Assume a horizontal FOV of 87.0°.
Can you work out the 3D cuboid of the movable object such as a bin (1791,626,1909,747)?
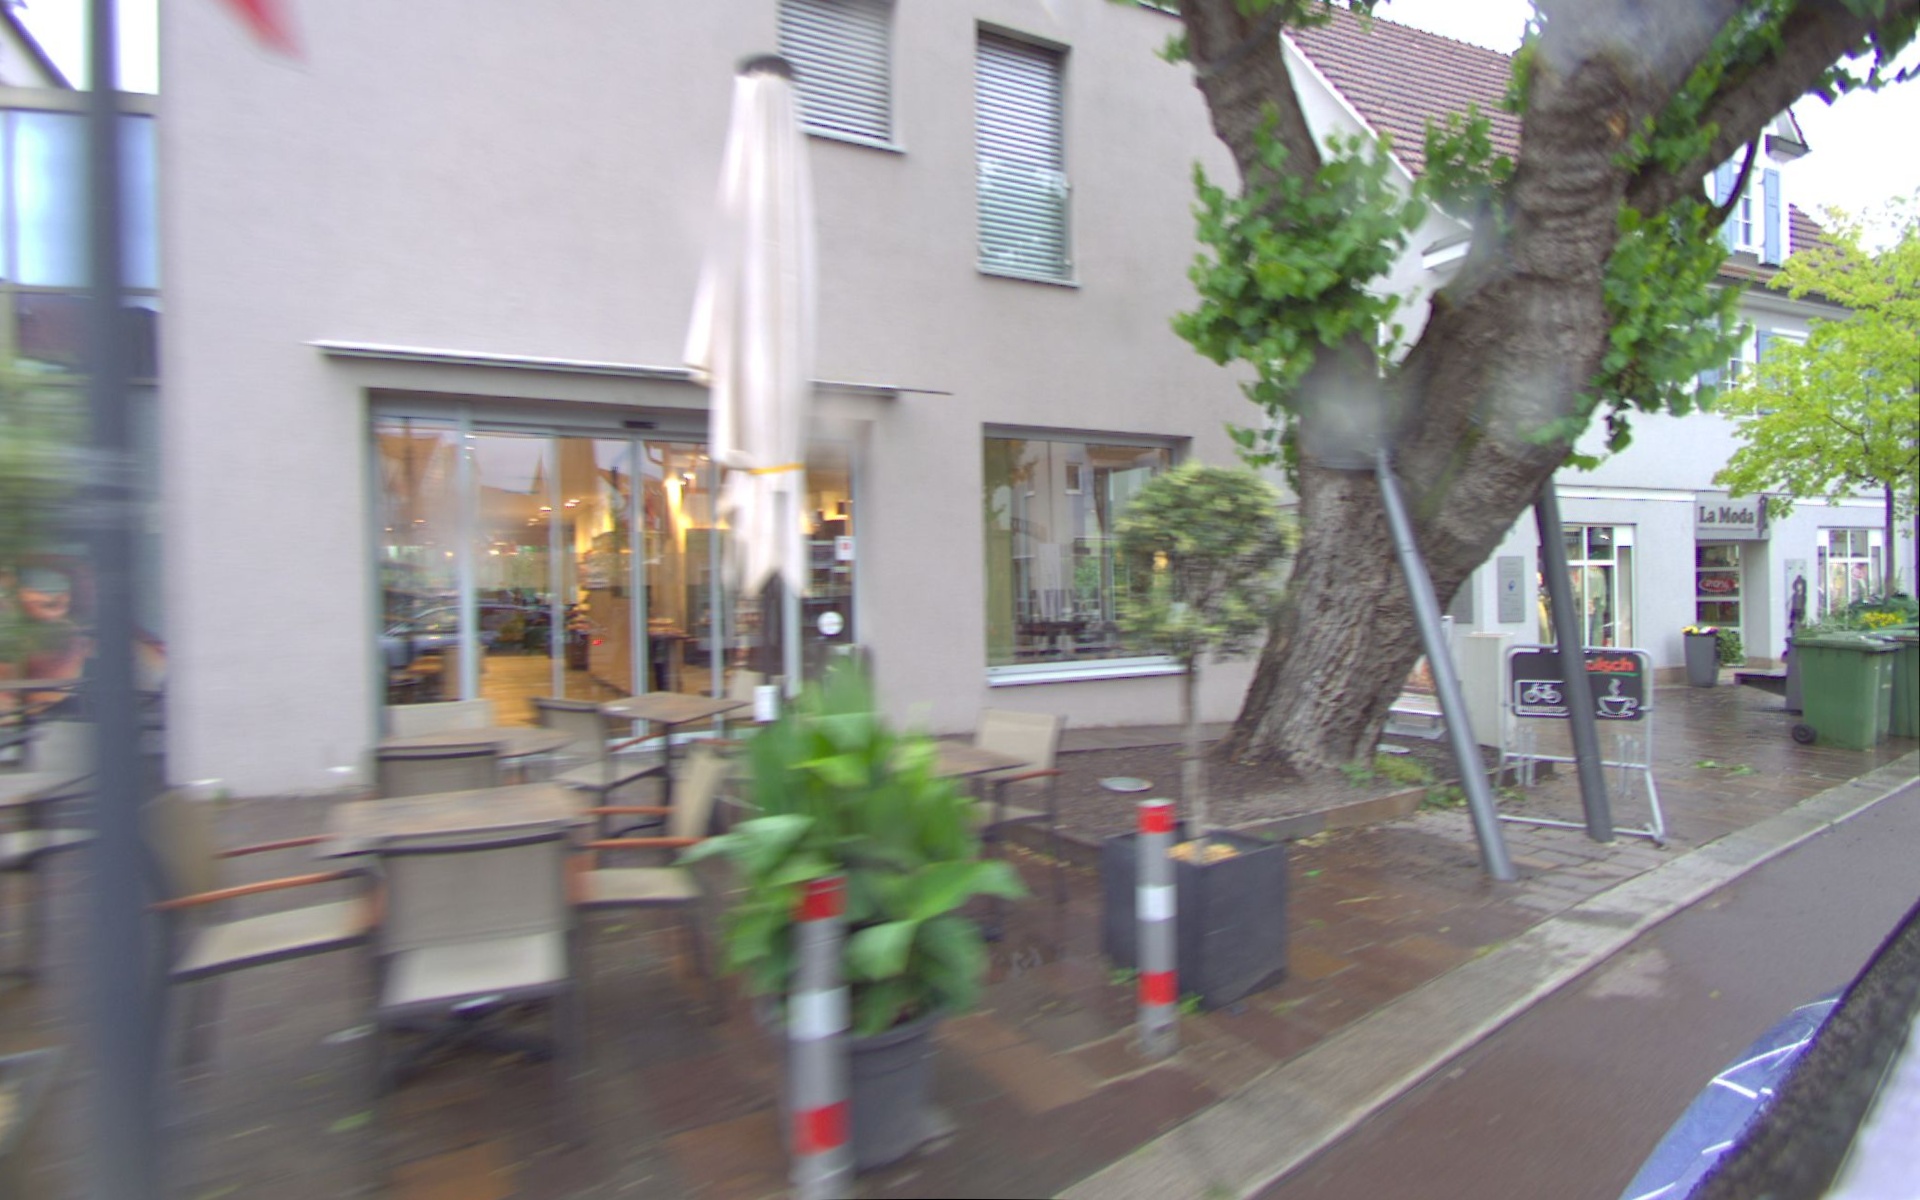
[{"bbox_3d":[8.648,0.812,9.842,0.527,1.088,0.765,0,0,-36],"label":"movable object such as a bin"}]
